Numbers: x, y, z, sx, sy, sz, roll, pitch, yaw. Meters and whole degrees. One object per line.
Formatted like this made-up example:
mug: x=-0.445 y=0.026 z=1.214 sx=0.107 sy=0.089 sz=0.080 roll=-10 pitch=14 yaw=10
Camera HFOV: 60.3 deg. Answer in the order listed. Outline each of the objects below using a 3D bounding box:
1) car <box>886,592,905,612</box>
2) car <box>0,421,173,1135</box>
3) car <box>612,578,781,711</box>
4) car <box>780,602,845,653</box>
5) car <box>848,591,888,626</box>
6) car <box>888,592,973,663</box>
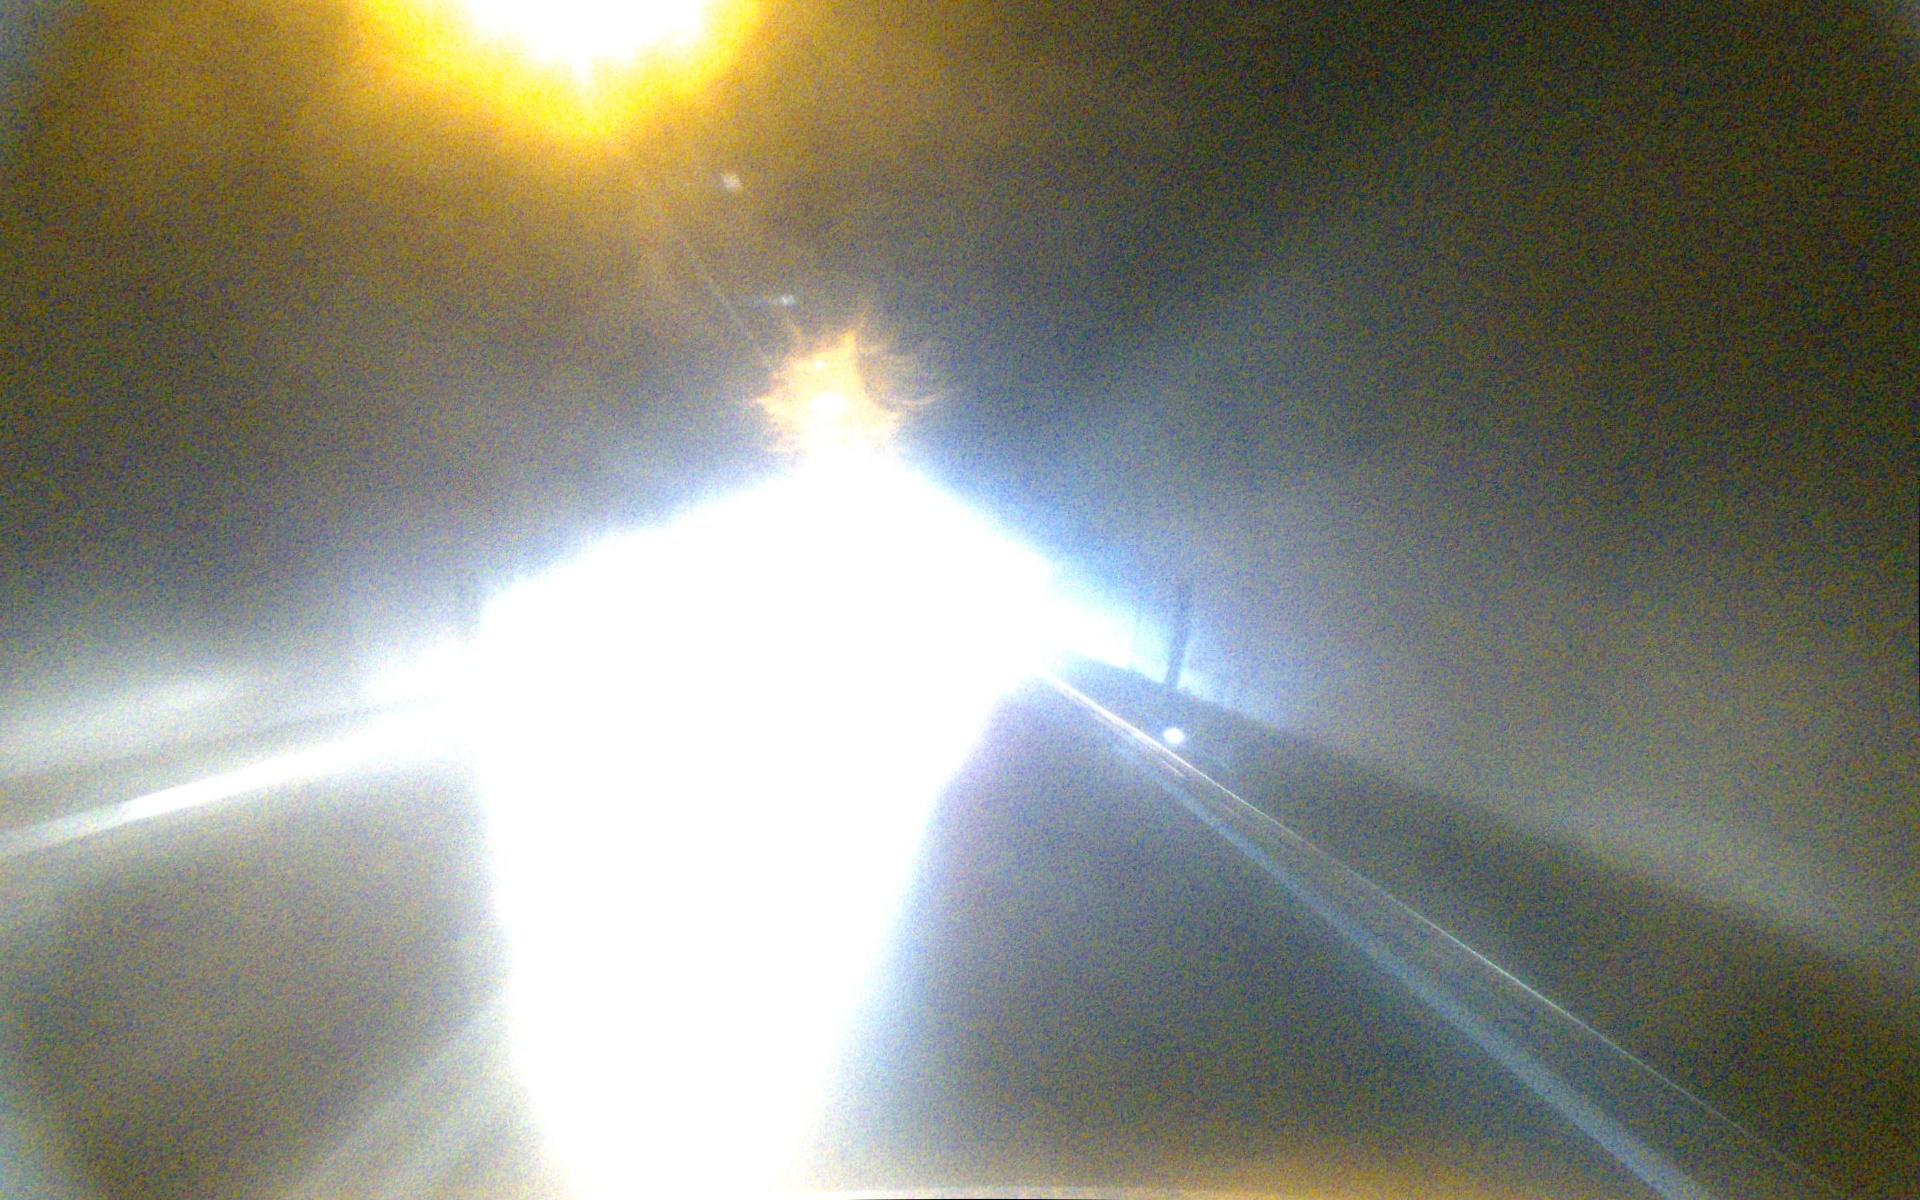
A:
car: x=-6.819 y=0.163 z=174.360 sx=1.953 sy=2.049 sz=3.999 roll=1 pitch=0 yaw=-1
car: x=-3.067 y=0.461 z=2.750 sx=1.635 sy=1.676 sz=3.906 roll=-2 pitch=1 yaw=-1
car: x=-3.401 y=0.533 z=22.003 sx=1.666 sy=1.583 sz=3.872 roll=1 pitch=0 yaw=-1
car: x=-4.346 y=0.799 z=49.250 sx=1.656 sy=1.447 sz=3.624 roll=0 pitch=0 yaw=-1
car: x=-4.783 y=0.424 z=86.475 sx=1.953 sy=1.739 sz=4.279 roll=1 pitch=0 yaw=-1
car: x=-0.759 y=0.671 z=42.190 sx=2.047 sy=1.691 sz=3.999 roll=1 pitch=0 yaw=-1
